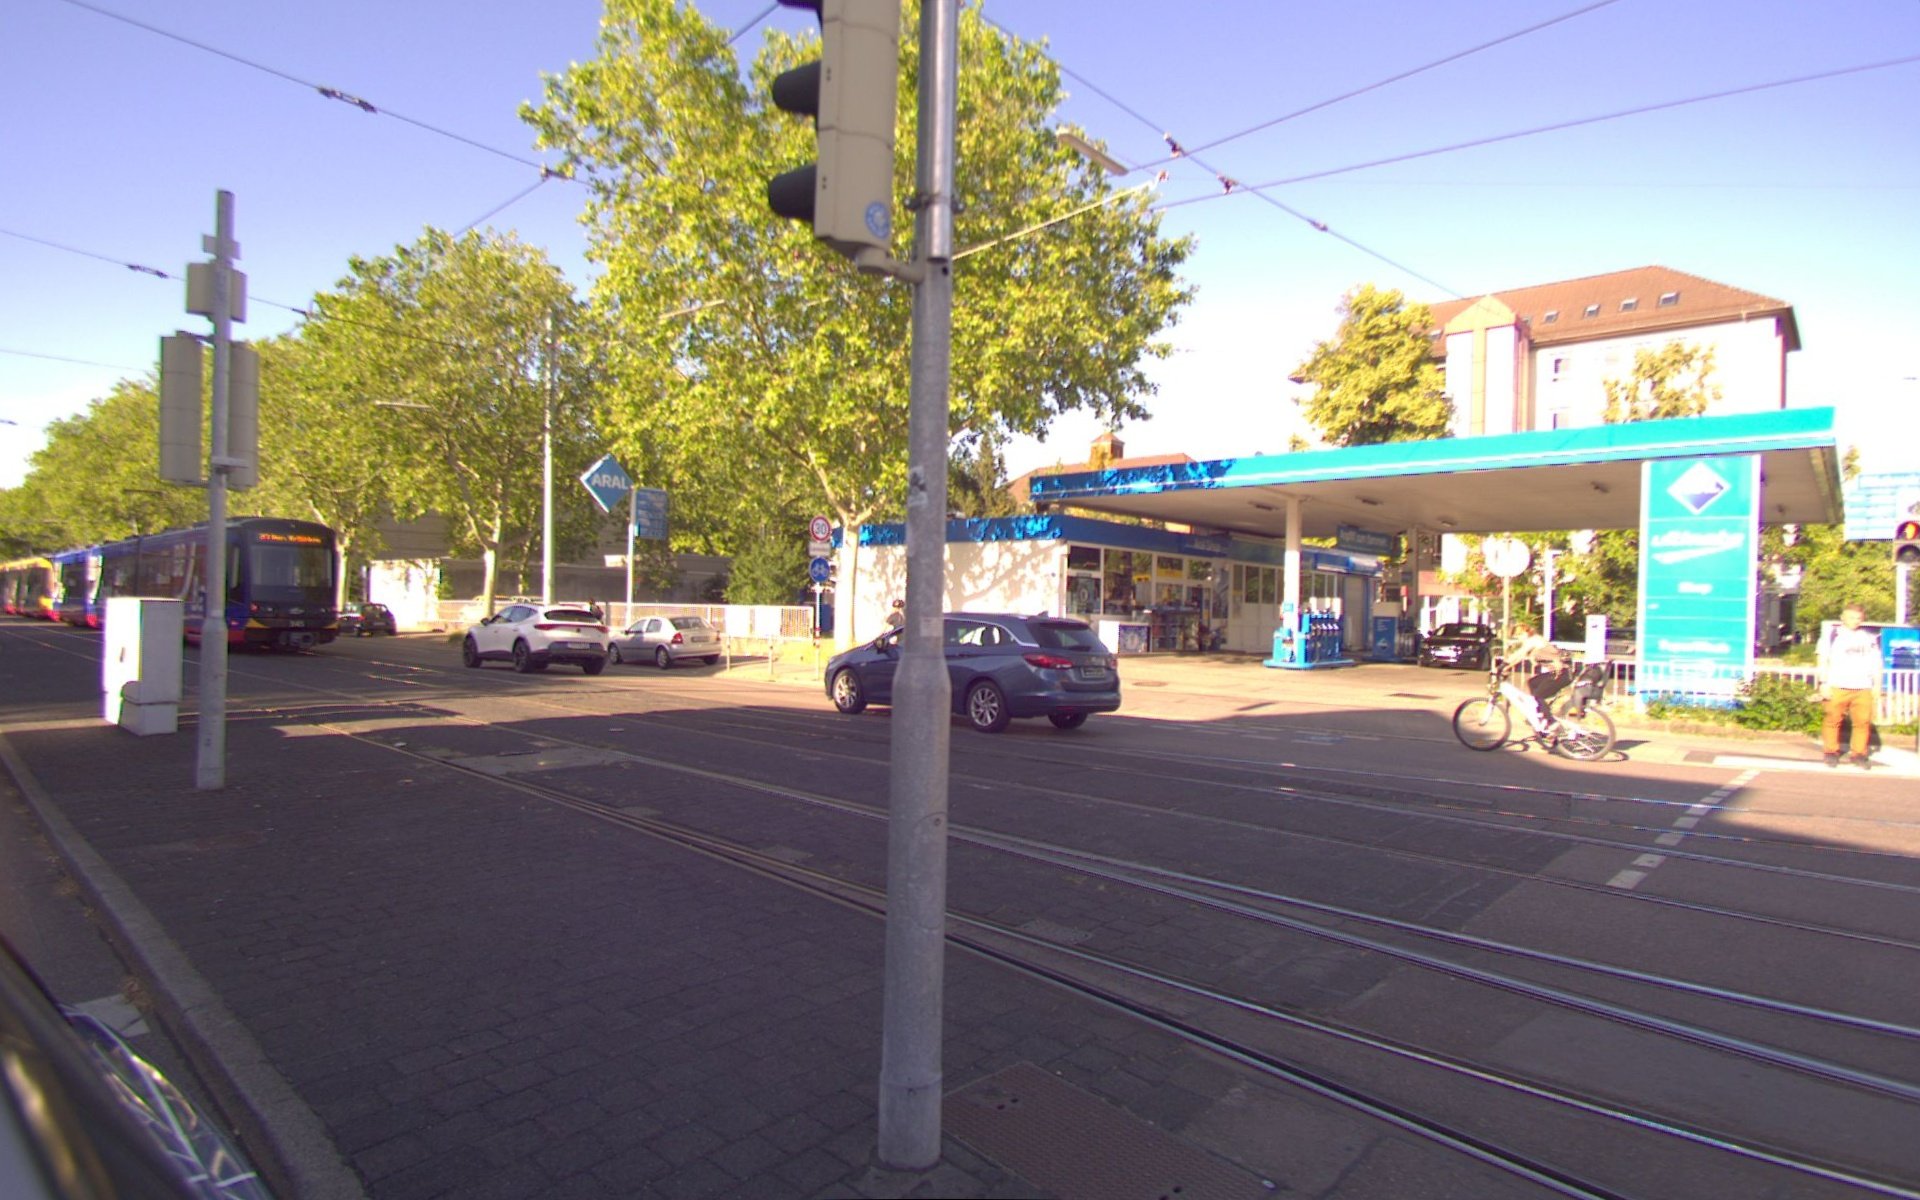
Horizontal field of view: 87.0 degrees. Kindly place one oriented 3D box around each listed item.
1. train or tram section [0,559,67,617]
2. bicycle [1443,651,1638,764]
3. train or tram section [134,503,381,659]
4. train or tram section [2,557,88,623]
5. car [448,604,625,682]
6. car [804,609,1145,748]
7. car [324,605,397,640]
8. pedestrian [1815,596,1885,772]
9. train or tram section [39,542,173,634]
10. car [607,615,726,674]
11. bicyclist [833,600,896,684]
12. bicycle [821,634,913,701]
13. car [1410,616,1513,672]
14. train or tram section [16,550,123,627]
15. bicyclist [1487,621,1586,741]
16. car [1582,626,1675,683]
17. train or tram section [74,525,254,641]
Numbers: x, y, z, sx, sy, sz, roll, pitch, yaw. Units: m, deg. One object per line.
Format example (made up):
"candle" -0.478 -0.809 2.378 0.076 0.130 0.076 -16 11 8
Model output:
"train or tram section" -64.980 -0.789 70.263 12.888 3.640 3.022 0 -2 43
"bicycle" 6.887 1.236 12.088 1.959 1.175 0.479 0 -2 45
"train or tram section" -20.316 -0.430 28.757 12.112 3.640 3.022 0 -2 42
"train or tram section" -56.034 -0.570 61.815 11.953 3.640 3.021 0 -2 44
"car" -9.549 0.925 22.667 4.347 1.508 1.972 0 -4 43
"car" 0.034 0.912 13.480 4.574 1.508 1.754 0 -2 44
"car" -27.375 1.002 46.197 4.001 1.497 1.856 0 -2 44
"pedestrian" 10.229 0.938 11.628 0.584 1.940 0.622 0 -2 43
"train or tram section" -38.441 -0.466 45.339 12.114 3.640 3.022 0 -2 43
"car" -8.249 1.181 28.291 1.754 1.435 3.541 -2 1 -43
"bicyclist" -1.849 0.791 19.542 0.986 1.571 0.707 0 -2 42
"bicycle" -1.811 1.264 19.457 2.056 1.175 0.480 0 -1 42
"car" 14.917 1.286 30.000 1.717 1.497 4.161 0 -1 41
"train or tram section" -47.311 -0.526 53.568 12.116 3.640 3.021 0 -2 43
"bicyclist" 6.894 0.942 12.109 0.898 1.350 0.596 0 -2 45
"car" 19.577 1.546 29.563 1.717 1.497 4.161 0 -1 41
"train or tram section" -29.385 -0.514 37.017 12.499 3.640 3.022 0 -2 42
